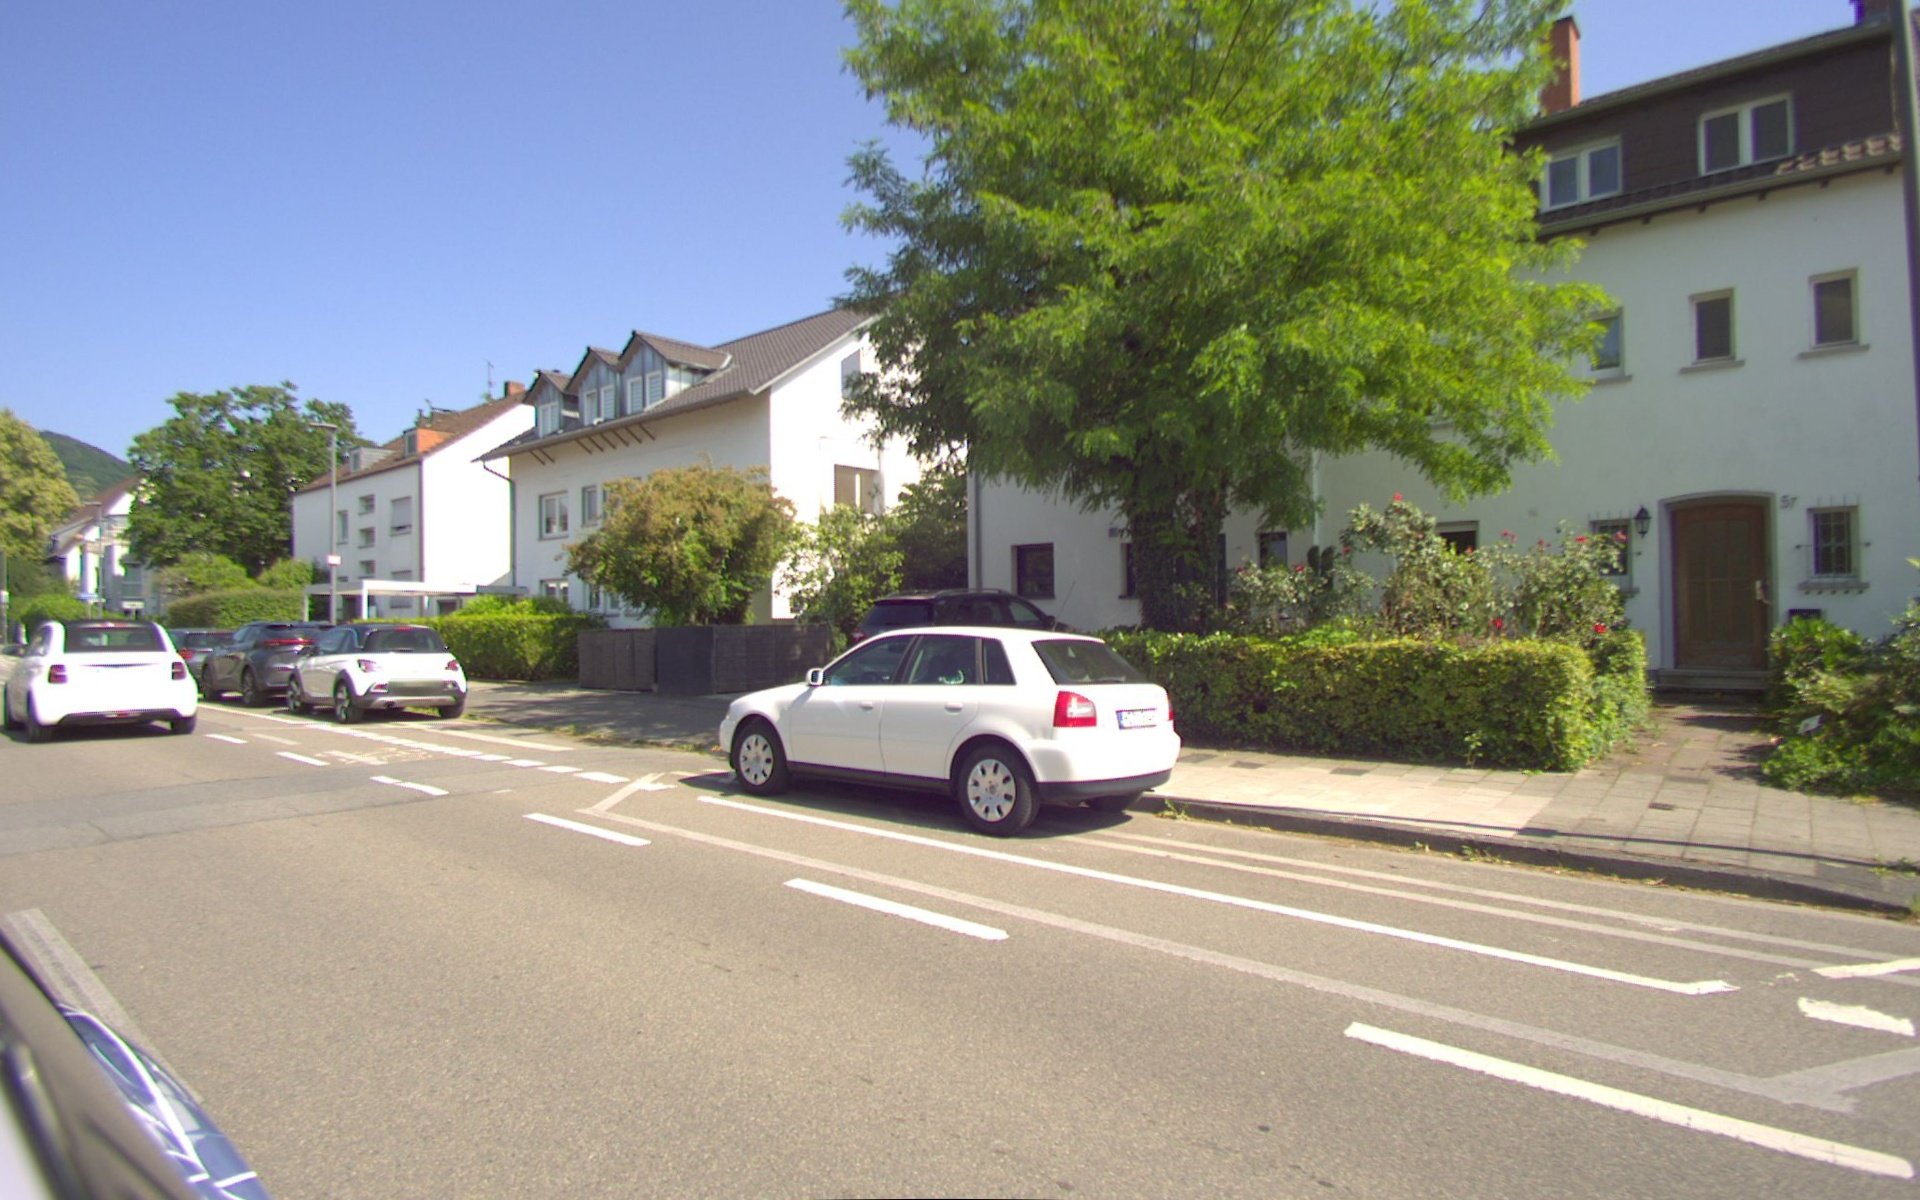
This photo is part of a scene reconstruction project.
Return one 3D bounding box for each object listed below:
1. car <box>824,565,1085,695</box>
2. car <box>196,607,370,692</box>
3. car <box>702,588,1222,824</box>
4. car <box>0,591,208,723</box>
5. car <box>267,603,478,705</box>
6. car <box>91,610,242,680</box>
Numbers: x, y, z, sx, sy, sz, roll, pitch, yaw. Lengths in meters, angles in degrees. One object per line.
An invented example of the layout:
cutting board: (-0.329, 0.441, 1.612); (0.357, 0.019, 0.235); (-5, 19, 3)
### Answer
car: (0.019, 0.445, 15.928); (1.999, 1.773, 3.946); (-2, -2, 41)
car: (-12.917, 0.908, 19.224); (4.109, 1.451, 1.766); (-2, -3, 42)
car: (-0.125, 0.721, 8.217); (3.996, 1.451, 1.767); (-1, -4, 39)
car: (-11.955, 0.728, 13.927); (3.997, 1.553, 1.714); (-1, -3, 41)
car: (-9.622, 0.846, 16.454); (3.998, 1.451, 1.766); (-2, -3, 41)
car: (-18.113, 1.018, 23.053); (4.149, 1.451, 1.768); (-2, -3, 39)
